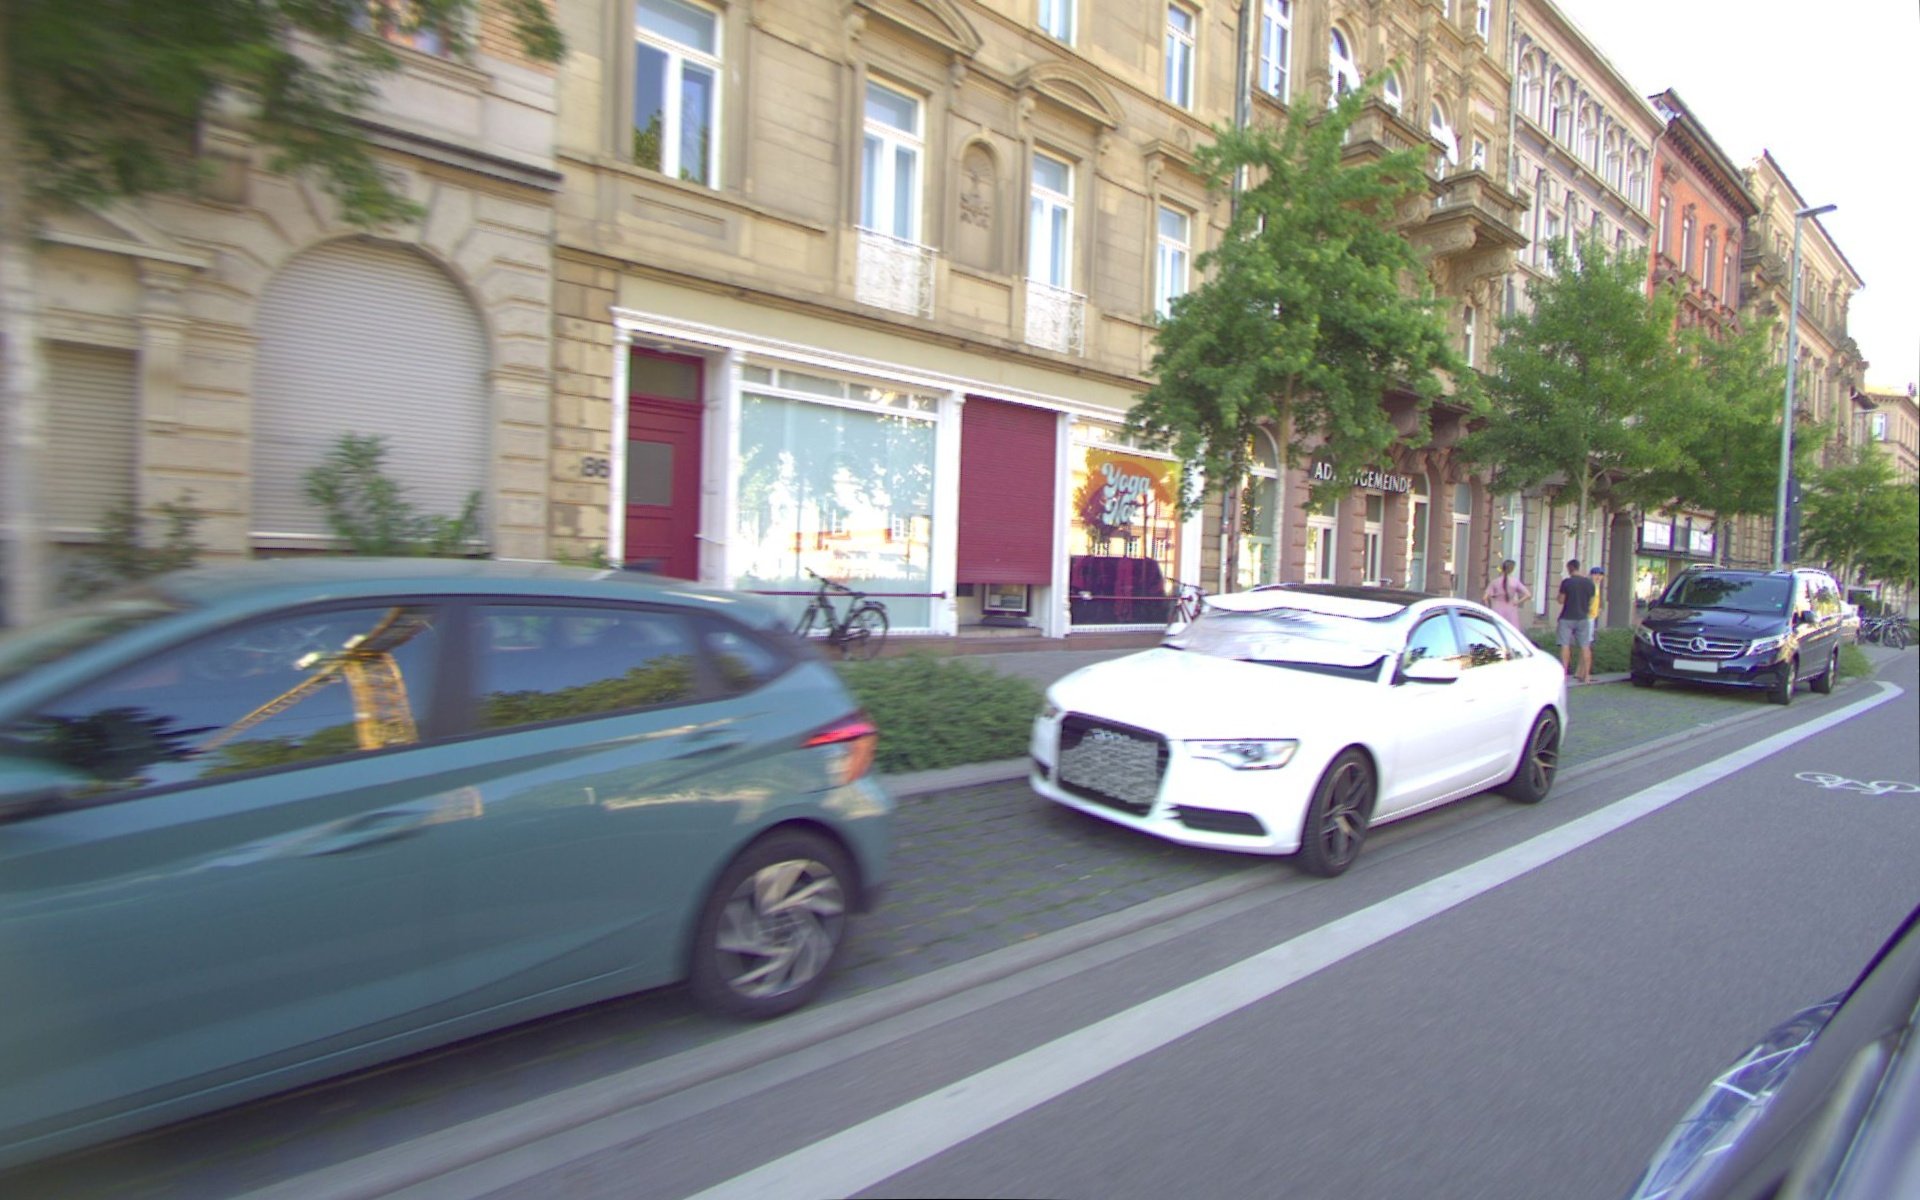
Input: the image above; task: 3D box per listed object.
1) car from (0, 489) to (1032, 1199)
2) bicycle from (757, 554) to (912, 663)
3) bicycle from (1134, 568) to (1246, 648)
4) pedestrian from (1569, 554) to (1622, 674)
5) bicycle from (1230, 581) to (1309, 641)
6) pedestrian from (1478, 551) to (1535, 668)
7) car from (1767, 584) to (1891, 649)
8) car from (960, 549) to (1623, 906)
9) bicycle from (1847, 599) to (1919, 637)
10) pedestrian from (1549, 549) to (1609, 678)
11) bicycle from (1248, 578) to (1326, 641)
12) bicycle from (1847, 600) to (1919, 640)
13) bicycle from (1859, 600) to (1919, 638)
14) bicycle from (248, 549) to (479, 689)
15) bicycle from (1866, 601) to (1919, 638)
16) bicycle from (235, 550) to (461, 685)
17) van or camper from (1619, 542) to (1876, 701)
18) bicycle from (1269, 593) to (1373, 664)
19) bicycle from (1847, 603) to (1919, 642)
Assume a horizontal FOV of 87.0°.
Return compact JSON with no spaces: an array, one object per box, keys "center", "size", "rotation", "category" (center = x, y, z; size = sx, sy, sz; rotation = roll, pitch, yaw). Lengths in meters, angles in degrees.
[{"center":[-1.960,0.505,3.206],"size":[4.221,1.583,1.854],"rotation":[0,4,-40],"category":"car"},{"center":[-1.474,0.082,12.111],"size":[1.744,1.210,0.719],"rotation":[0,2,-44],"category":"bicycle"},{"center":[3.791,0.111,16.608],"size":[2.036,1.235,0.706],"rotation":[0,2,-41],"category":"bicycle"},{"center":[9.486,0.195,15.108],"size":[0.482,1.749,0.505],"rotation":[0,2,-42],"category":"pedestrian"},{"center":[5.721,0.197,18.617],"size":[2.036,1.046,0.343],"rotation":[0,2,-41],"category":"bicycle"},{"center":[8.317,0.137,15.419],"size":[0.566,1.749,0.482],"rotation":[1,1,4],"category":"pedestrian"},{"center":[23.615,0.423,27.444],"size":[4.658,1.502,1.695],"rotation":[0,4,-39],"category":"car"},{"center":[2.559,0.527,6.800],"size":[5.162,1.471,1.853],"rotation":[0,4,-42],"category":"car"},{"center":[30.479,0.579,33.418],"size":[0.520,1.132,1.693],"rotation":[1,2,-38],"category":"bicycle"},{"center":[8.850,0.184,14.476],"size":[0.495,1.800,0.473],"rotation":[1,1,-21],"category":"pedestrian"},{"center":[5.952,0.164,18.346],"size":[2.036,1.078,0.325],"rotation":[0,2,-41],"category":"bicycle"},{"center":[29.205,0.616,31.955],"size":[0.520,1.132,1.693],"rotation":[1,2,-38],"category":"bicycle"},{"center":[30.218,0.595,32.750],"size":[0.566,1.132,1.584],"rotation":[1,2,-38],"category":"bicycle"},{"center":[-5.020,0.142,8.591],"size":[1.646,1.093,0.385],"rotation":[0,1,-41],"category":"bicycle"},{"center":[31.564,0.649,33.955],"size":[1.690,1.132,0.522],"rotation":[4,2,45],"category":"bicycle"},{"center":[-5.310,0.136,8.854],"size":[1.646,1.093,0.385],"rotation":[0,1,-41],"category":"bicycle"},{"center":[12.303,0.247,15.657],"size":[5.390,1.995,1.966],"rotation":[0,4,-40],"category":"van or camper"},{"center":[5.174,0.380,14.448],"size":[1.653,0.927,0.656],"rotation":[0,2,-41],"category":"bicycle"},{"center":[28.266,0.674,30.965],"size":[0.469,1.065,1.614],"rotation":[1,2,-38],"category":"bicycle"}]
